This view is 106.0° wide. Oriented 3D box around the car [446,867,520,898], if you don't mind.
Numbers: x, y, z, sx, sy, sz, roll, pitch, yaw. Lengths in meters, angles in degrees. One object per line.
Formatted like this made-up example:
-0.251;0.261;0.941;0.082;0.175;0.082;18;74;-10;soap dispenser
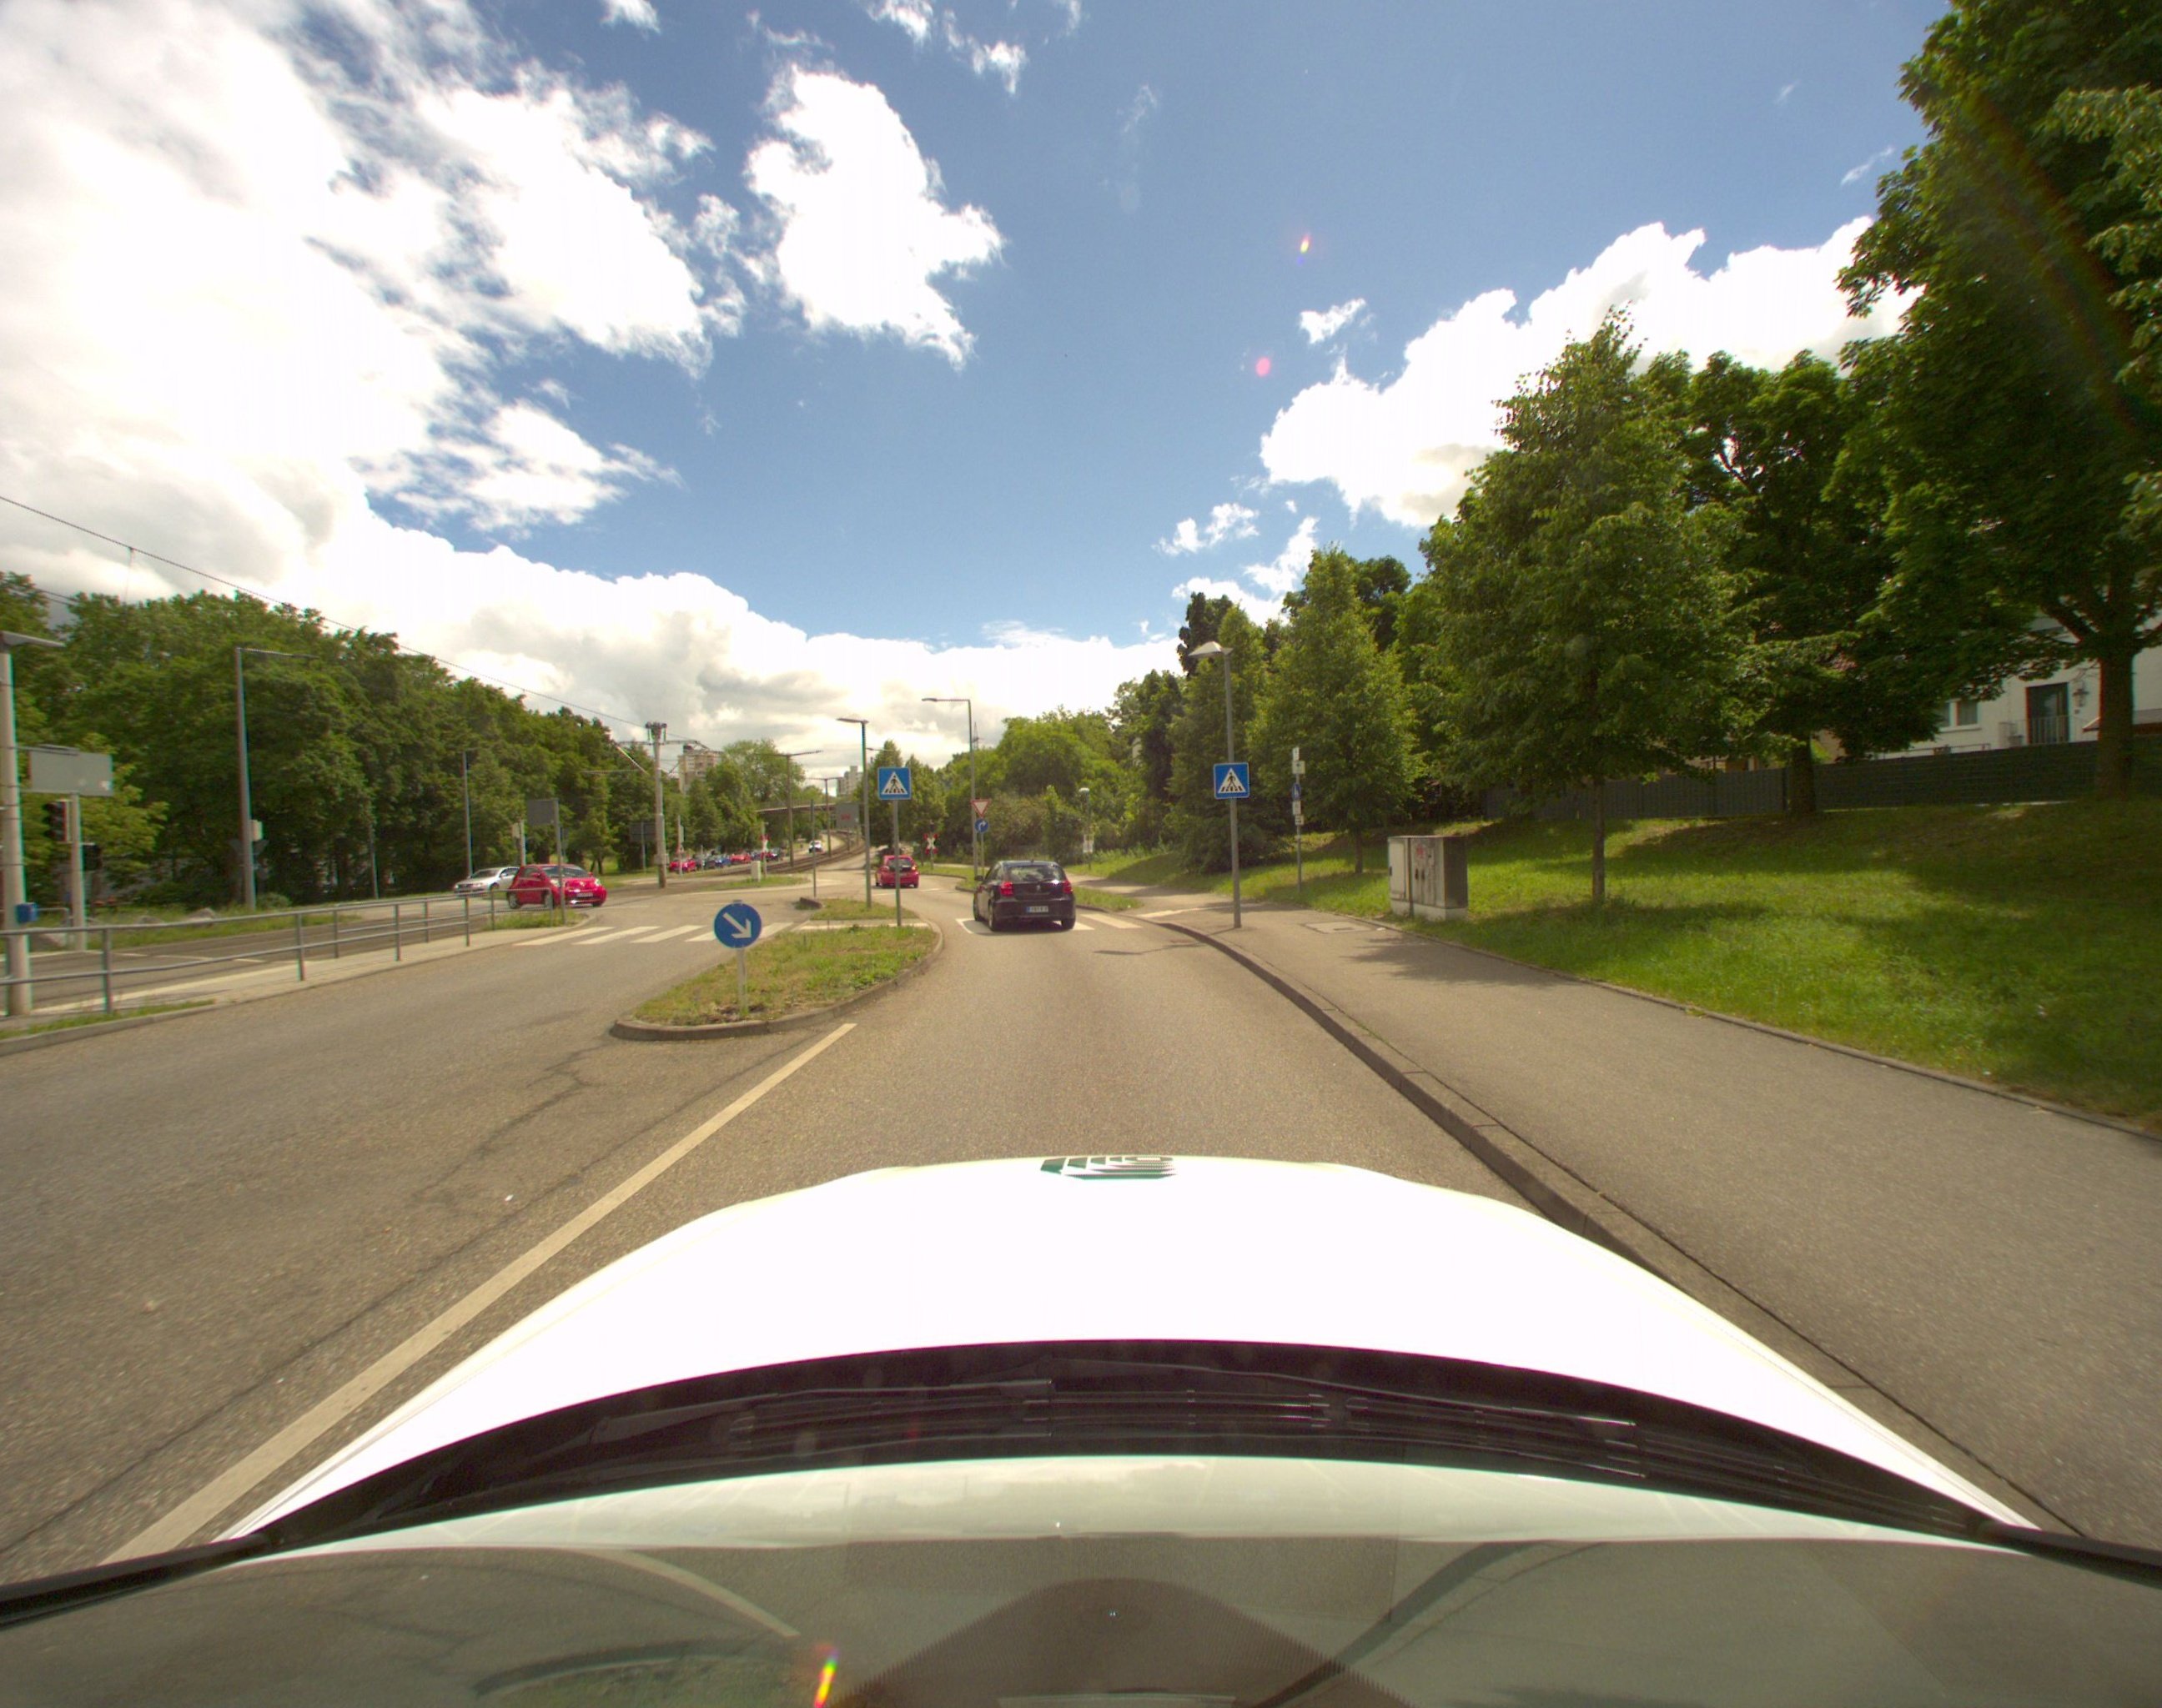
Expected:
-31.288;1.446;42.742;1.881;1.350;3.810;-3;2;-16;car

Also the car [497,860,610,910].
-17.296;0.997;26.720;2.930;1.503;1.735;-2;1;25;car

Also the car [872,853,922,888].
-8.425;0.745;37.044;1.772;1.432;3.455;-3;0;-20;car

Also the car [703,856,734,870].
-36.246;0.863;81.479;1.804;1.254;3.560;-2;2;-7;car

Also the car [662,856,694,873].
-35.015;0.875;70.805;1.528;1.370;3.585;-2;1;-10;car

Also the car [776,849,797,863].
-42.629;0.335;117.903;1.992;1.862;3.990;-2;1;-7;car

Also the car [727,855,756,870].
-38.035;0.955;91.360;1.911;1.561;3.990;-2;1;-8;car

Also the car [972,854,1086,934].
-1.241;0.793;17.616;1.817;1.421;3.982;-3;0;-13;car

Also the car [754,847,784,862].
-35.850;0.019;93.770;1.991;1.597;4.411;-2;1;-5;car

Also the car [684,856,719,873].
-35.568;0.930;76.415;1.876;1.425;3.525;-2;1;-5;car

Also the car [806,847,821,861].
-43.379;-0.011;131.978;1.997;2.013;3.980;-2;1;-15;car
